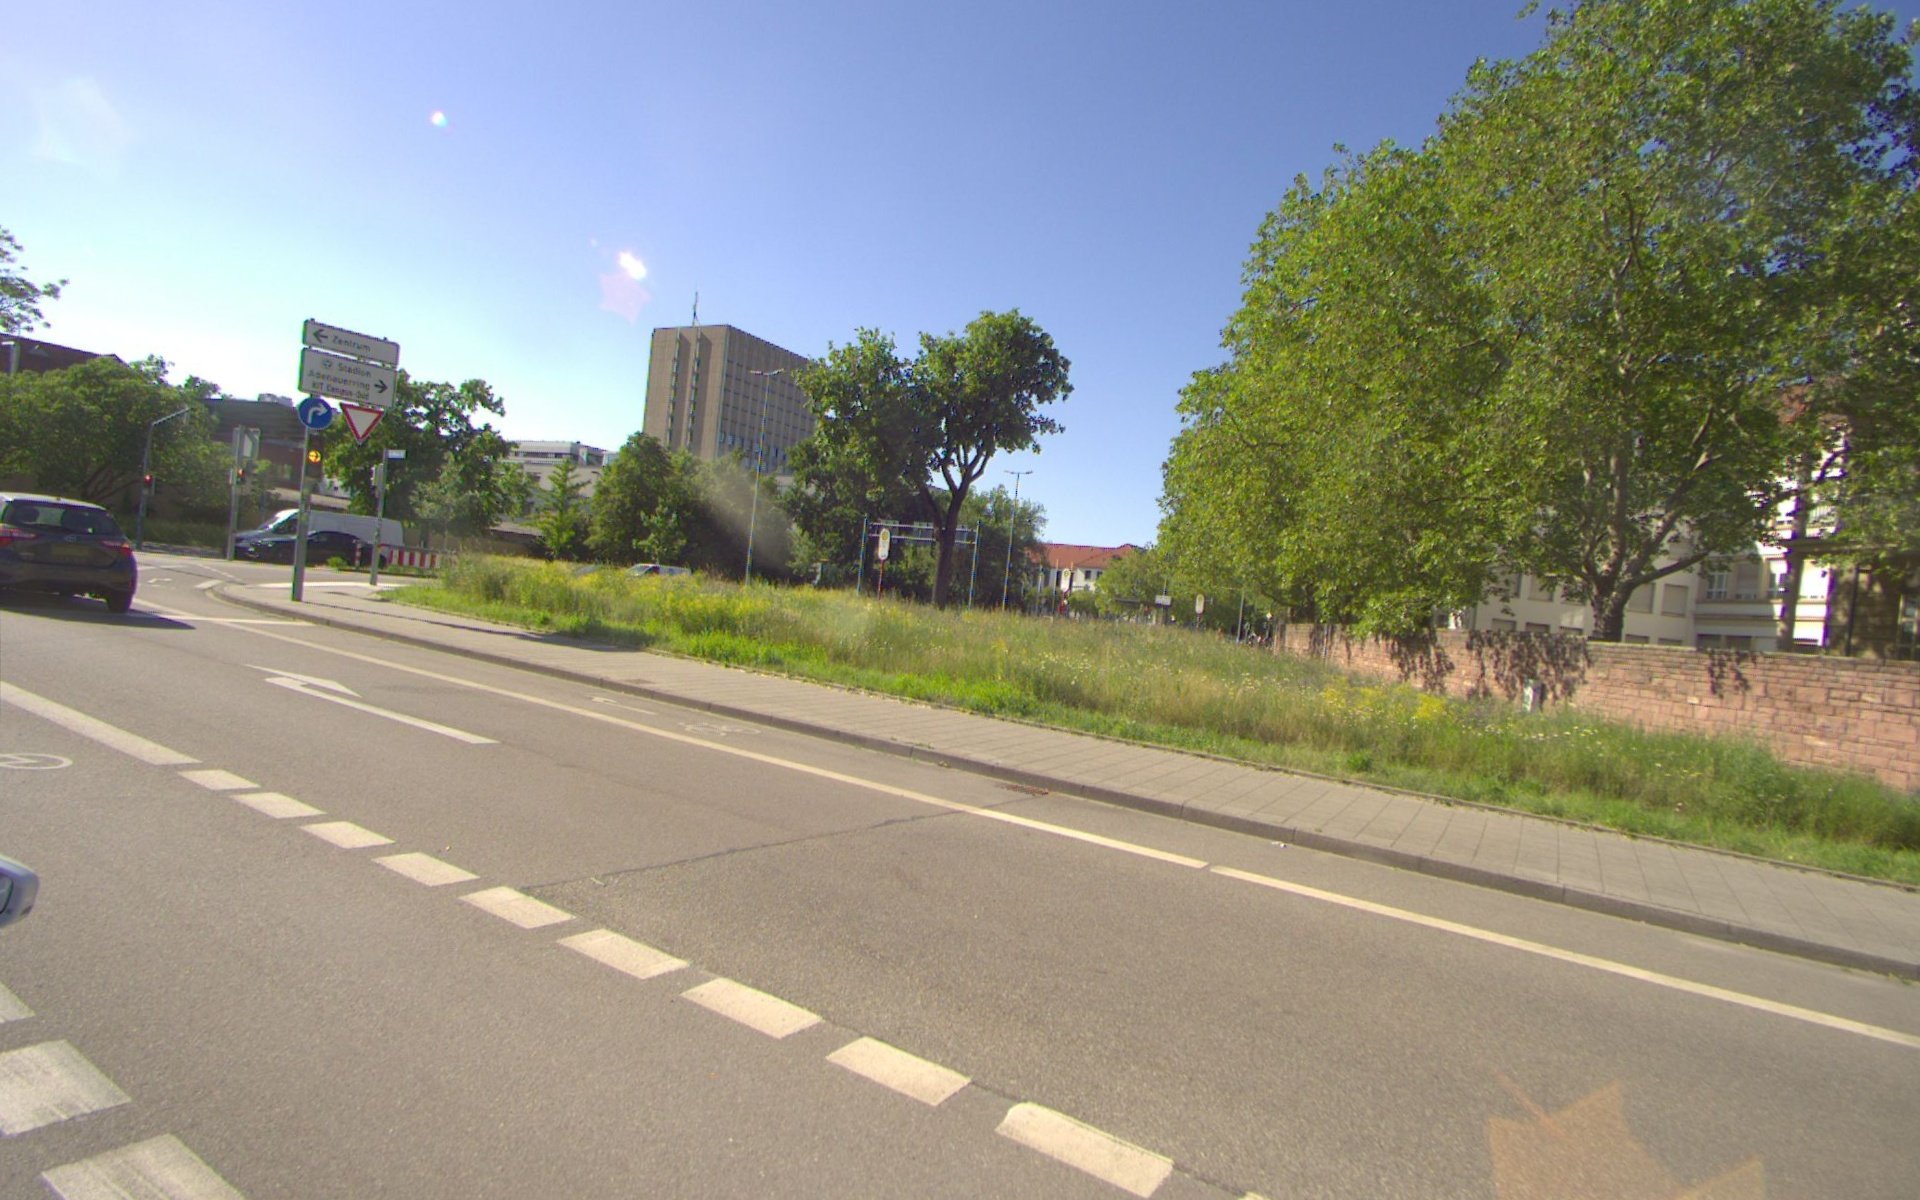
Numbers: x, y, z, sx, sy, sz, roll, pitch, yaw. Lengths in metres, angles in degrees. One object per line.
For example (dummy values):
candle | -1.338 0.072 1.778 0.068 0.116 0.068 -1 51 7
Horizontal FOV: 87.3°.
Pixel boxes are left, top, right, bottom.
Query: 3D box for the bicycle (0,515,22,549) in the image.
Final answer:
bicycle | -41.897 -3.011 43.205 2.412 1.387 0.852 5 -1 4

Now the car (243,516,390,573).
car | -27.523 -2.348 43.180 2.042 1.768 4.852 7 0 36

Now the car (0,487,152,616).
car | -13.511 -0.750 14.556 3.601 1.560 1.757 5 -1 34

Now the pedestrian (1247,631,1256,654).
pedestrian | 22.487 3.297 77.595 0.490 1.722 0.500 5 0 14

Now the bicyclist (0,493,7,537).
bicyclist | -41.834 -3.702 43.197 0.842 1.869 0.852 5 0 4

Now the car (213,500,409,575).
car | -29.485 -2.790 46.053 2.042 2.453 7.153 7 0 36

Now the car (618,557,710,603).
car | -18.258 -1.189 62.313 2.042 2.253 5.089 7 0 36

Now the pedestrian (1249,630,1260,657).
pedestrian | 19.445 2.841 66.318 0.490 1.722 0.500 5 0 9

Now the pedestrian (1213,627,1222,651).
pedestrian | 19.193 2.899 75.059 0.490 1.722 0.611 5 0 14
